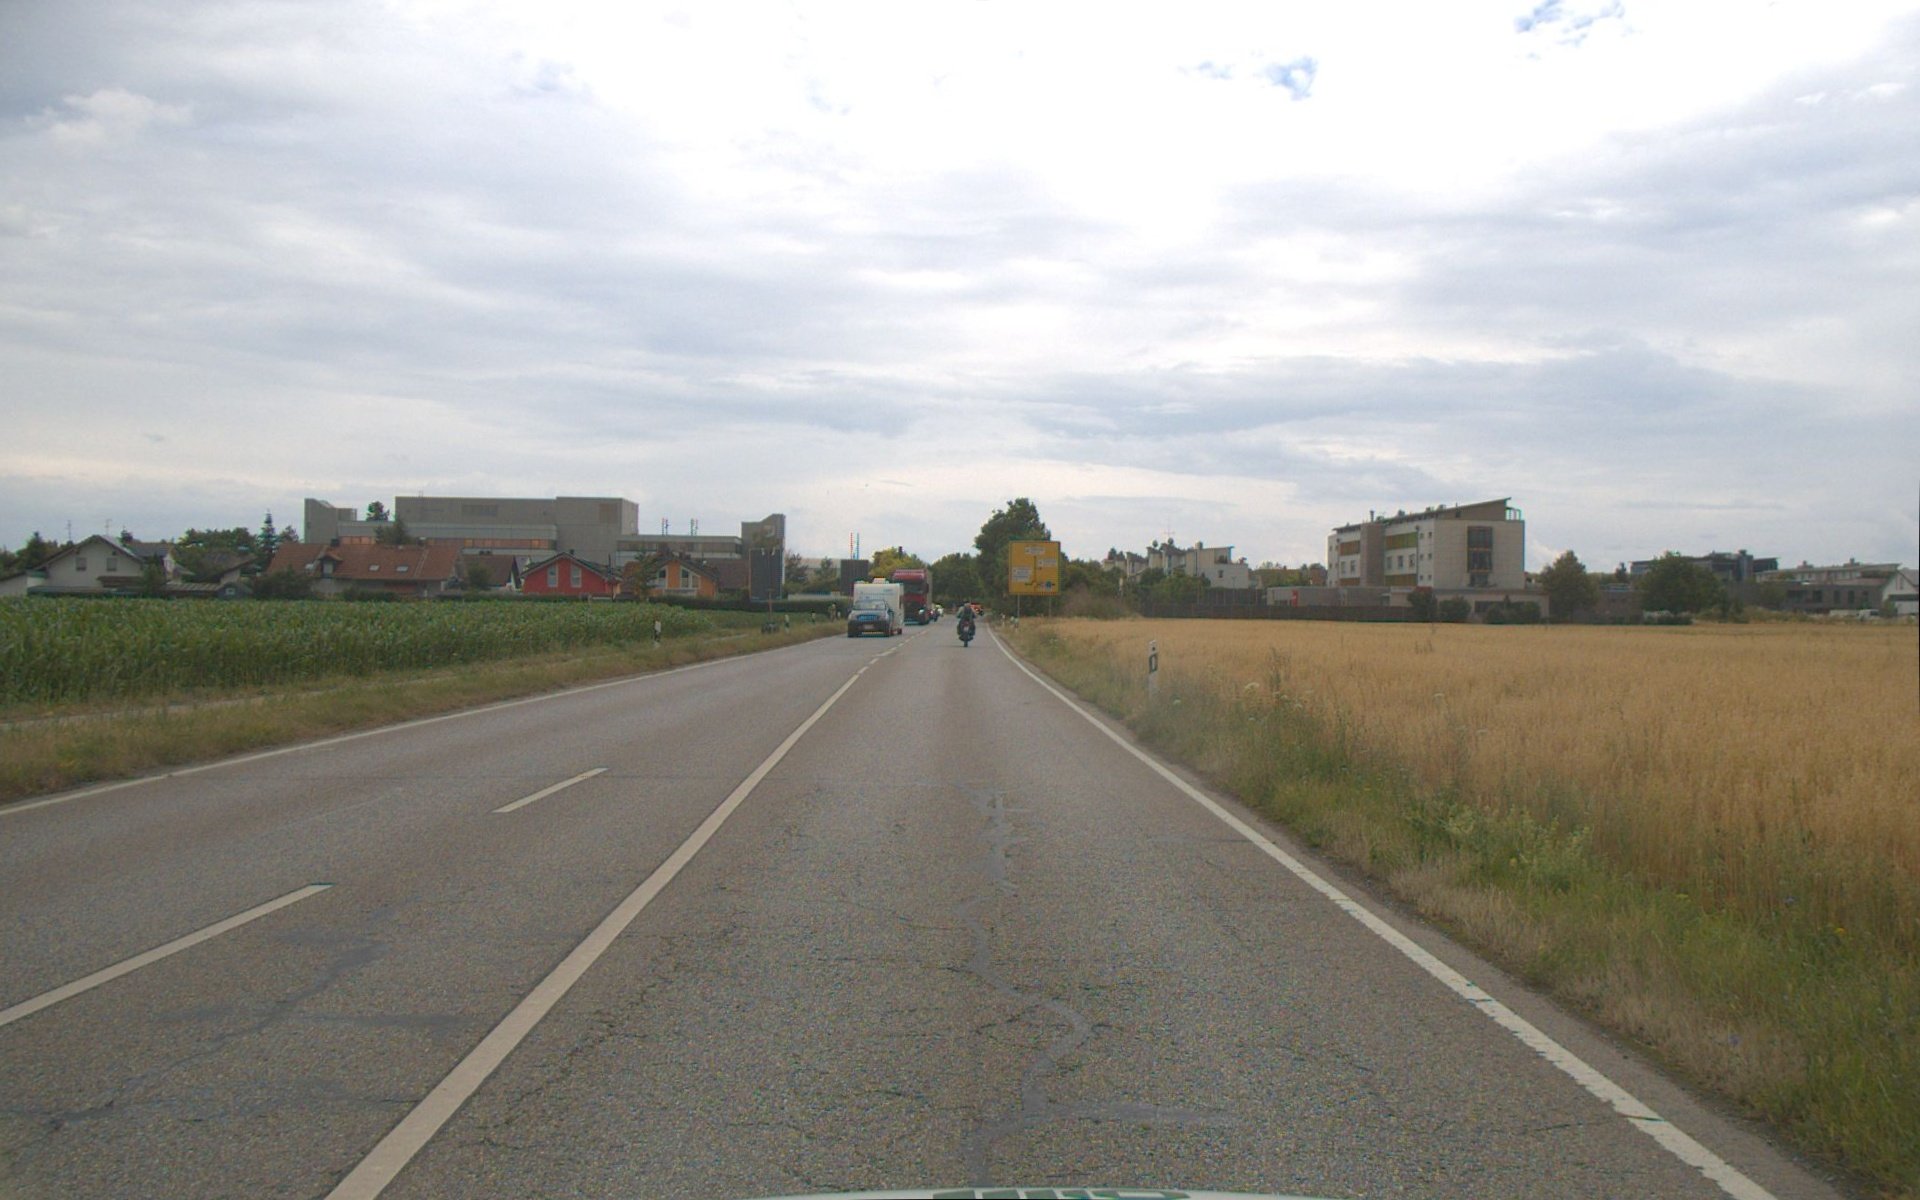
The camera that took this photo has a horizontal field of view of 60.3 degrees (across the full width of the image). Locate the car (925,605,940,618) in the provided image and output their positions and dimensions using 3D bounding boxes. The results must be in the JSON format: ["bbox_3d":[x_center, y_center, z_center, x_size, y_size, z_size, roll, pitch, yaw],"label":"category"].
[{"bbox_3d":[-3.387,1.411,203.296,1.817,1.498,3.999,0,0,-1],"label":"car"}]

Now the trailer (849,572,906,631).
[{"bbox_3d":[-4.014,0.085,81.600,2.276,2.777,7.843,0,0,1],"label":"trailer"}]

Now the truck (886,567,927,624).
[{"bbox_3d":[-3.914,-0.299,122.251,2.673,4.057,6.816,0,0,1],"label":"truck"}]

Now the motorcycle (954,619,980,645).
[{"bbox_3d":[0.263,1.150,60.440,0.922,0.905,2.146,0,0,0],"label":"motorcycle"}]

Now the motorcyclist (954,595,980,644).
[{"bbox_3d":[0.270,0.704,60.475,0.922,1.780,1.200,0,0,0],"label":"motorcyclist"}]

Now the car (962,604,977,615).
[{"bbox_3d":[1.232,1.238,213.964,1.817,1.498,4.000,0,0,0],"label":"car"}]

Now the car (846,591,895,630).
[{"bbox_3d":[-4.068,0.480,75.660,1.953,1.729,4.675,0,0,0],"label":"car"}]
